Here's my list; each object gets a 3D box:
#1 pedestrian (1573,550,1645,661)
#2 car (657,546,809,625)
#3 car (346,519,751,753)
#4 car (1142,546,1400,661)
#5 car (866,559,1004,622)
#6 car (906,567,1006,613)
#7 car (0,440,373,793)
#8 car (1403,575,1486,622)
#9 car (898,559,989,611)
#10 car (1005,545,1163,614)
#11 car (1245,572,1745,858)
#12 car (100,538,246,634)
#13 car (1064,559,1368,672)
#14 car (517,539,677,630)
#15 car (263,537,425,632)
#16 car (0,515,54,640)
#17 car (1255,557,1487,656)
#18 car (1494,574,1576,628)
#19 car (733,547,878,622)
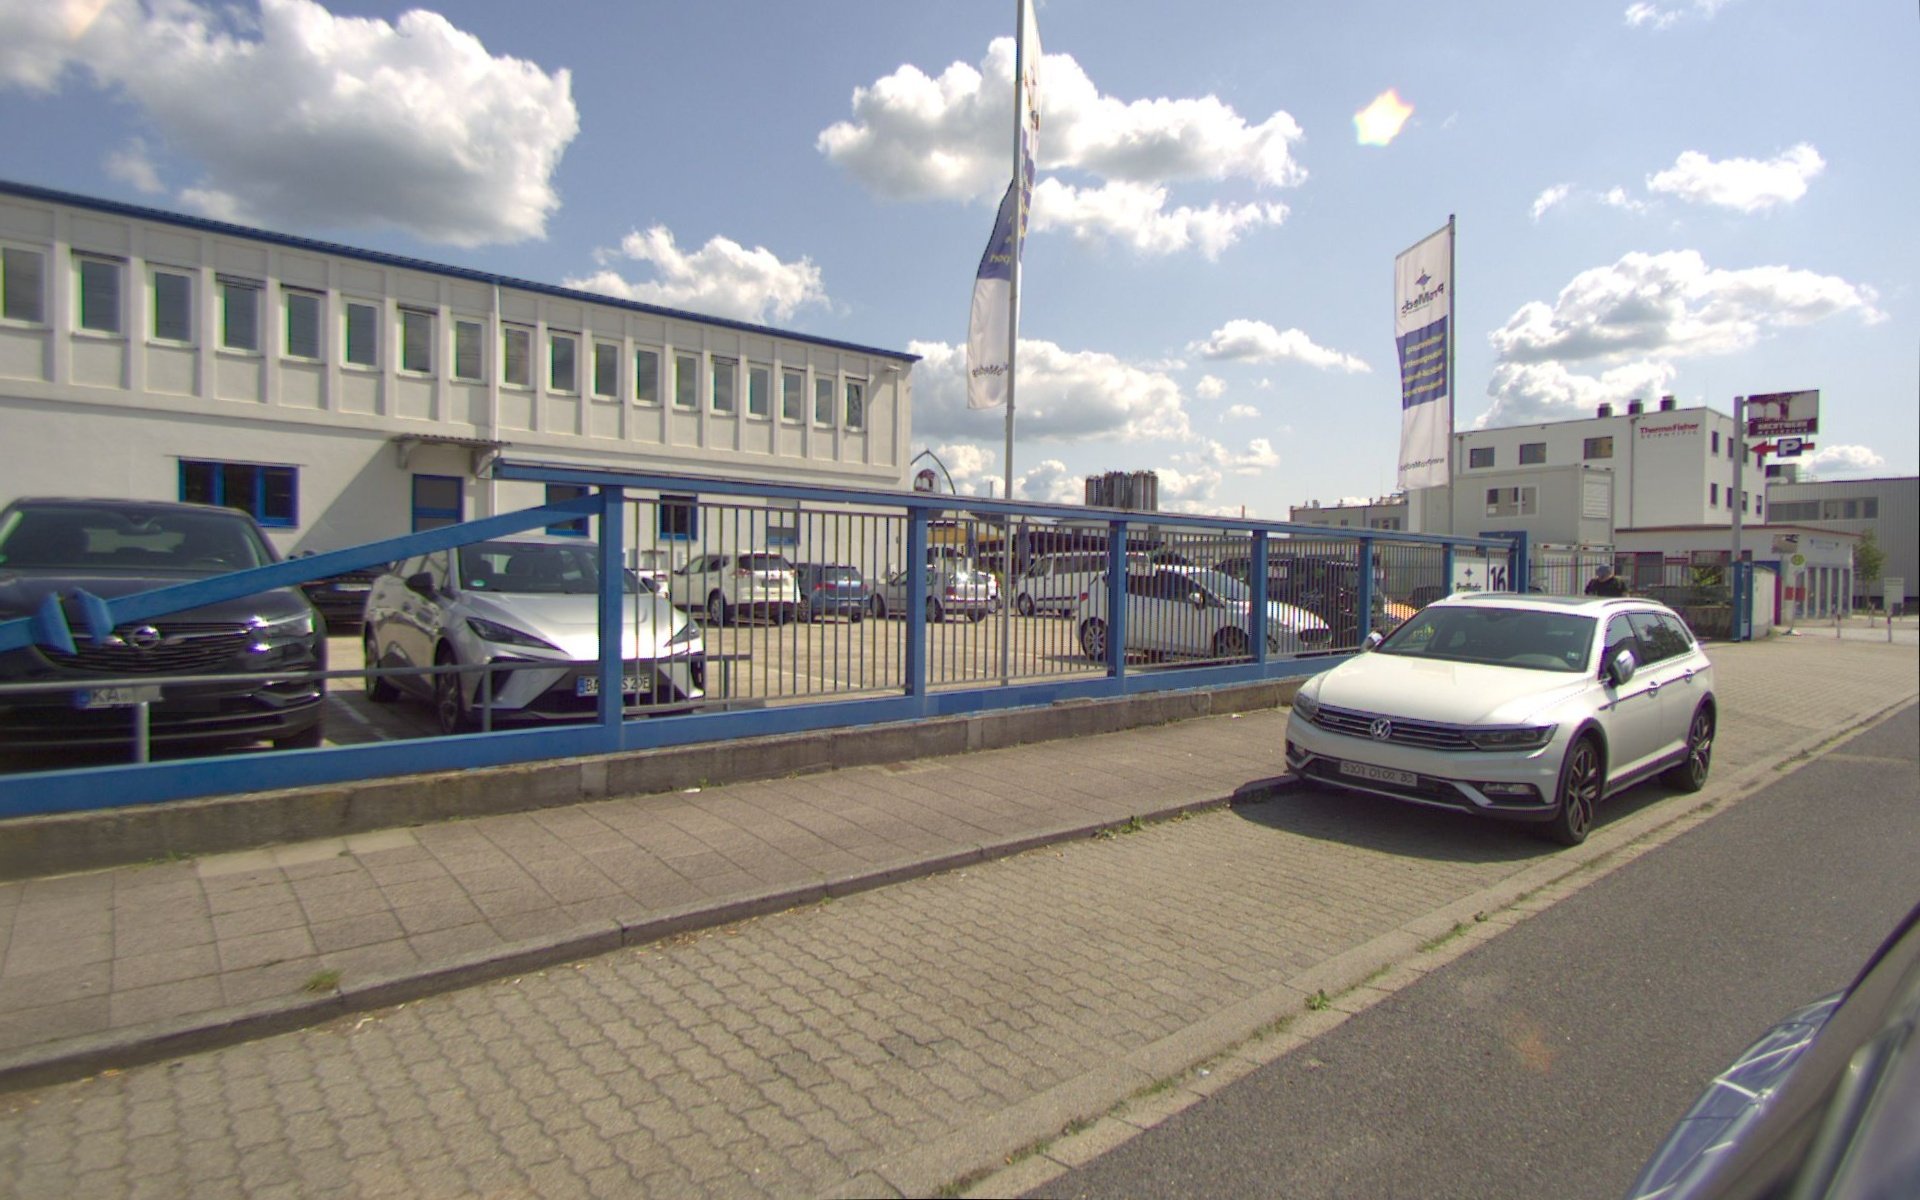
[{"bbox_3d":[10.838,0.074,16.904,0.773,1.778,0.771,-1,3,-41],"label":"pedestrian"},{"bbox_3d":[-5.318,-0.357,23.400,1.775,1.650,3.994,0,2,-41],"label":"car"},{"bbox_3d":[-3.662,0.148,8.490,1.964,1.437,4.289,0,2,-40],"label":"car"},{"bbox_3d":[5.104,0.024,16.981,1.760,1.701,3.813,-1,1,-40],"label":"car"},{"bbox_3d":[-0.754,-0.317,27.381,1.829,1.504,3.896,-1,3,-36],"label":"car"},{"bbox_3d":[-0.107,-0.335,33.501,3.108,1.421,1.416,-1,-1,-41],"label":"car"},{"bbox_3d":[-5.558,0.034,6.706,2.111,1.667,4.232,-1,1,-41],"label":"car"},{"bbox_3d":[15.568,-0.098,32.418,1.940,1.394,3.955,2,2,32],"label":"car"},{"bbox_3d":[-0.571,-0.551,36.833,3.109,1.791,1.415,-1,-1,-43],"label":"car"},{"bbox_3d":[3.759,-0.614,31.402,2.235,1.961,4.690,0,1,-38],"label":"car"},{"bbox_3d":[4.233,0.567,7.640,4.519,1.539,1.870,-1,1,-41],"label":"car"},{"bbox_3d":[-13.405,-0.260,17.148,1.775,1.417,3.994,0,2,-41],"label":"car"},{"bbox_3d":[3.667,0.131,15.025,1.964,1.437,3.996,0,2,-40],"label":"car"},{"bbox_3d":[-7.722,-0.356,21.328,1.901,1.723,3.994,0,2,-41],"label":"car"},{"bbox_3d":[-11.335,-0.303,18.507,1.901,1.527,3.994,0,2,-41],"label":"car"},{"bbox_3d":[-15.076,-0.357,15.431,1.775,1.761,4.065,0,1,-41],"label":"car"},{"bbox_3d":[7.269,0.036,18.110,1.760,1.508,3.411,-1,4,-40],"label":"car"},{"bbox_3d":[17.146,-0.037,30.089,1.735,1.459,3.785,2,2,35],"label":"car"},{"bbox_3d":[-3.945,-0.411,25.366,1.775,1.712,3.994,0,2,-41],"label":"car"}]
